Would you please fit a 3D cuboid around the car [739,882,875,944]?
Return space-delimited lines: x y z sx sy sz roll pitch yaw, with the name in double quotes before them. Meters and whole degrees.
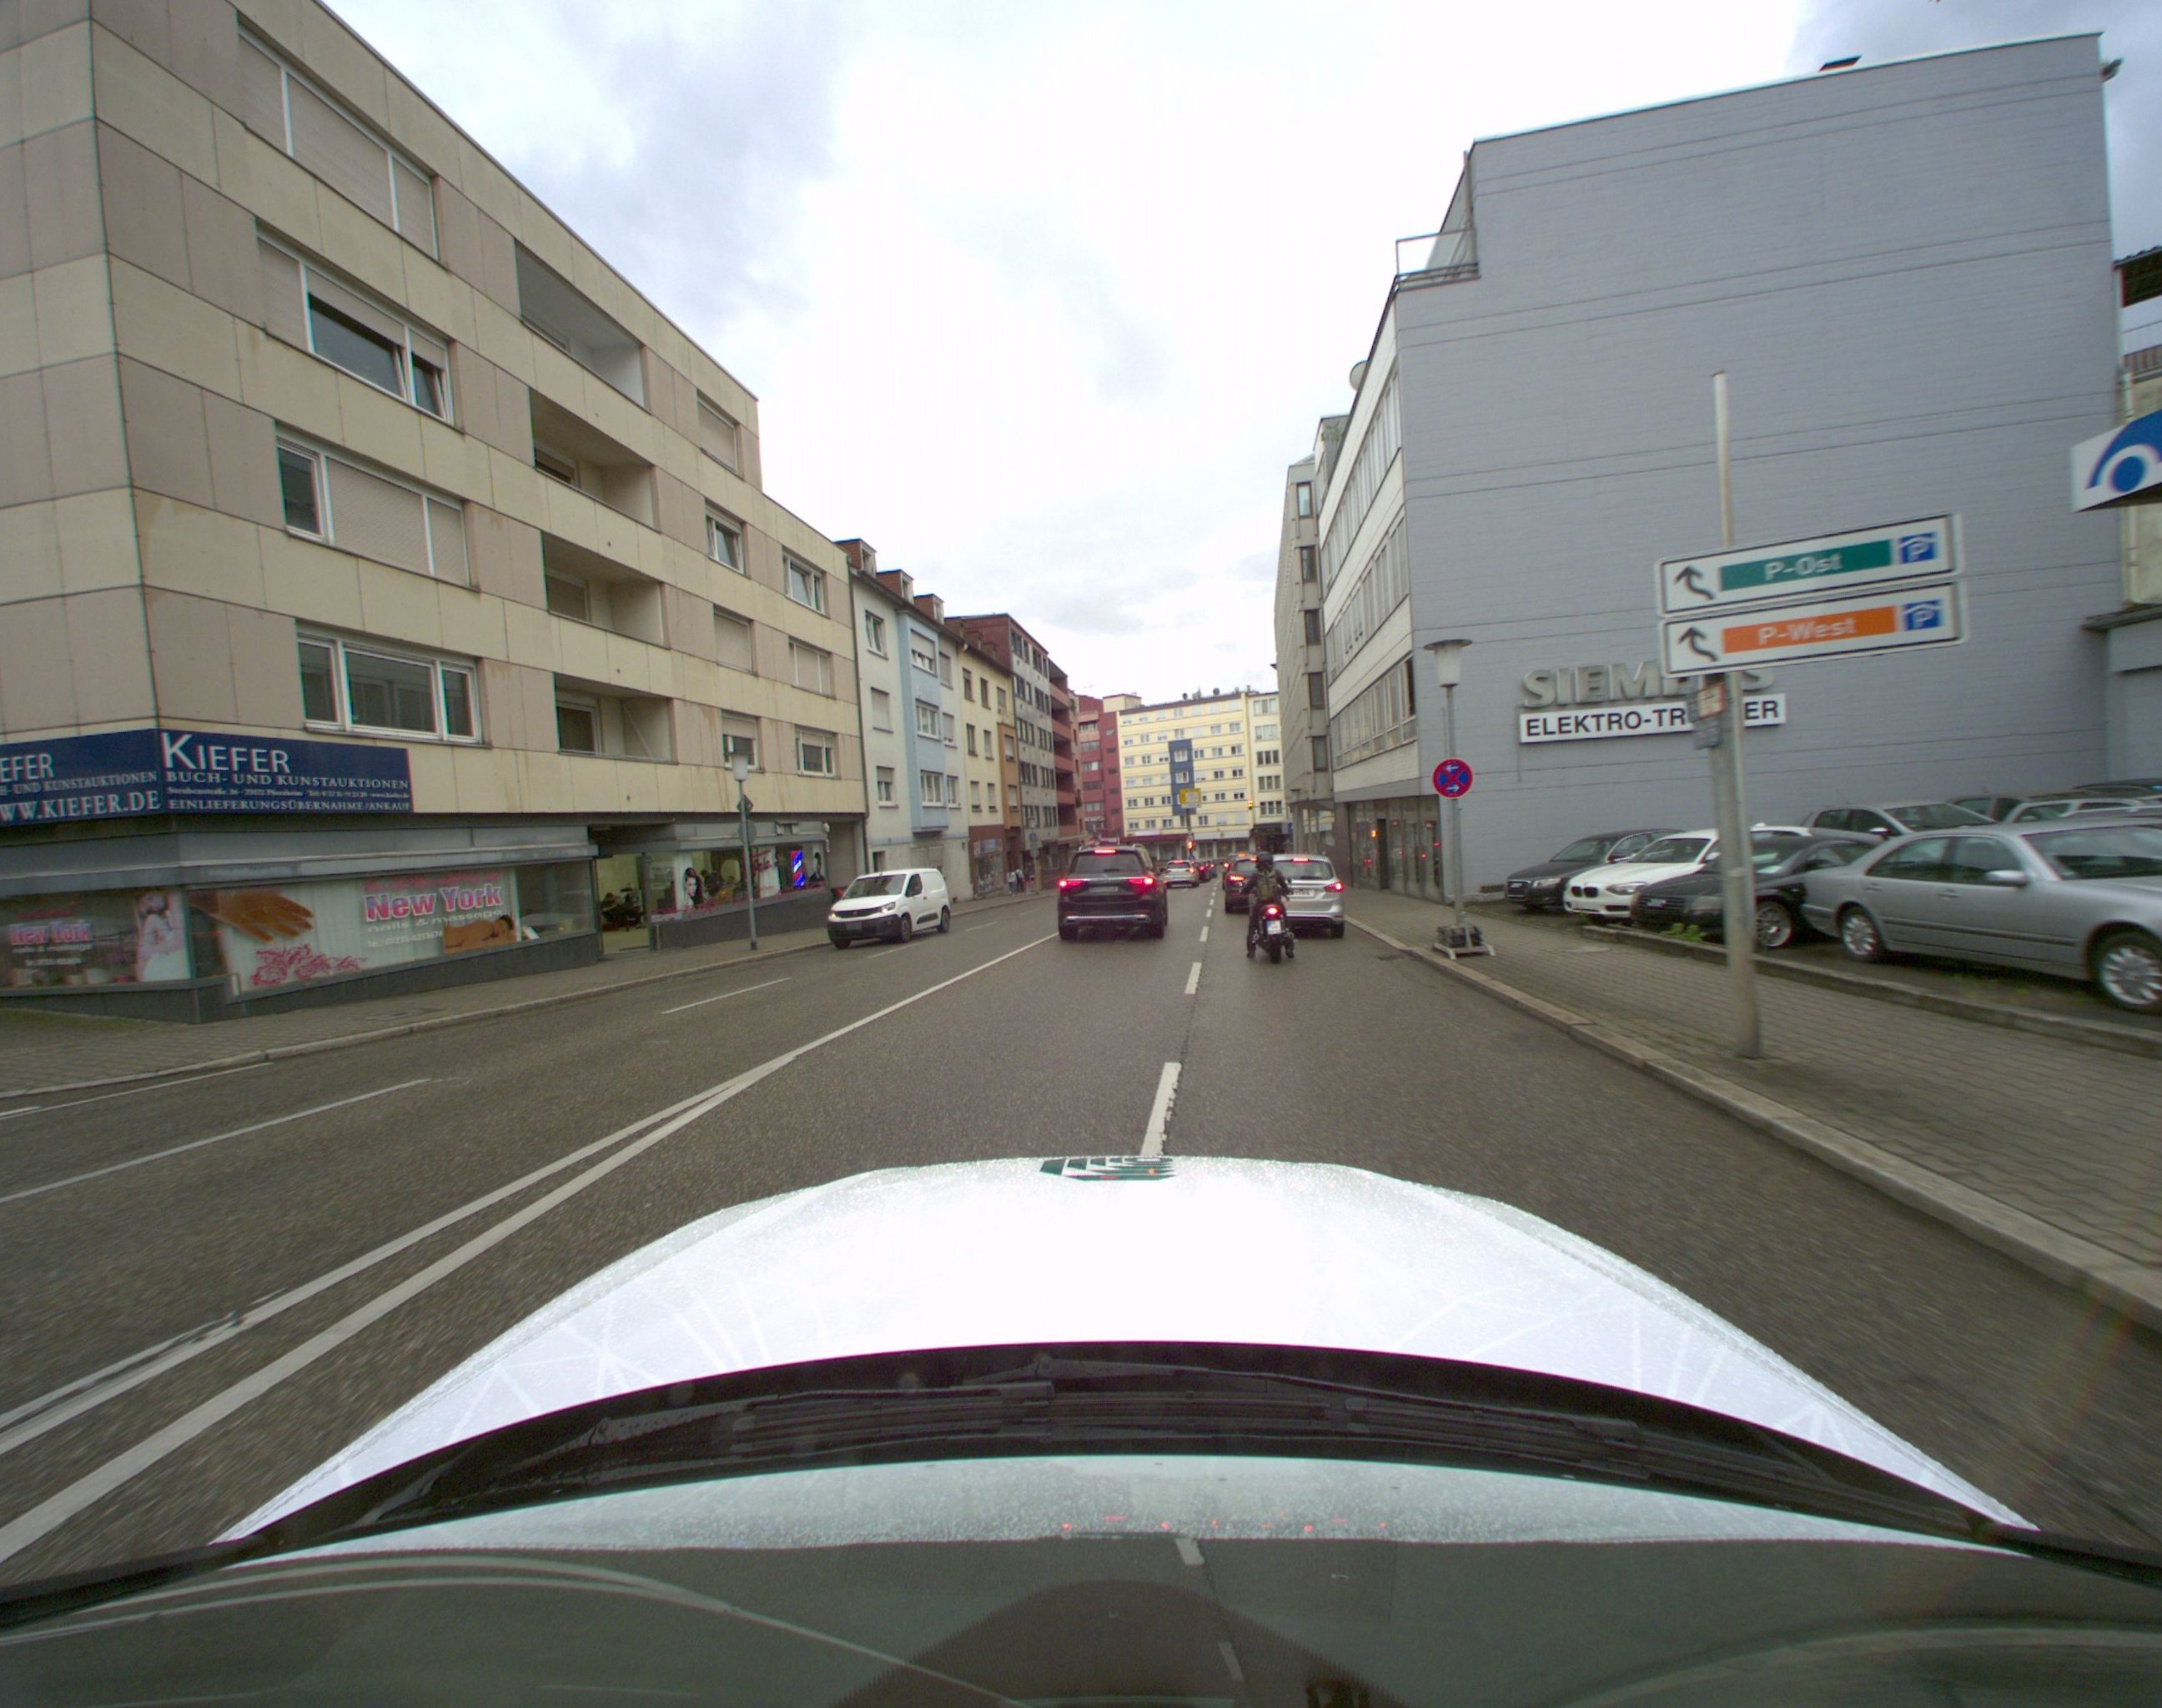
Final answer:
"car" -9.506 2.041 28.461 3.972 1.350 1.680 -10 1 2

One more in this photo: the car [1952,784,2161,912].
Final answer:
"car" 14.884 -0.142 11.448 1.777 1.600 3.529 -6 -1 11

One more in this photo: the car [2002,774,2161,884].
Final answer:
"car" 19.803 -0.472 14.909 1.777 1.911 3.961 -3 -1 11

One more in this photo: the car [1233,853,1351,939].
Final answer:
"car" 4.221 0.774 16.882 1.816 1.541 4.260 0 0 7

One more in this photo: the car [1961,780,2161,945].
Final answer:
"car" 11.585 0.047 7.860 1.777 1.544 4.506 -7 0 11

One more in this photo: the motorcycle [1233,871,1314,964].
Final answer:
"motorcycle" 2.813 0.883 12.168 0.840 1.226 2.376 0 -1 5

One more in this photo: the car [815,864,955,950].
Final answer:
"car" -4.807 1.242 20.681 1.851 1.804 4.276 -4 -1 9

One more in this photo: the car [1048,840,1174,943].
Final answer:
"car" 0.793 0.698 17.092 2.027 1.799 4.674 -2 -1 9

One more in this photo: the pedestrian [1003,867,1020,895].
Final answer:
"pedestrian" -3.958 1.544 46.385 0.824 1.561 0.724 -1 -1 1

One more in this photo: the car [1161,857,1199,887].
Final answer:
"car" 5.404 0.946 44.080 1.862 1.495 4.411 -2 -1 9

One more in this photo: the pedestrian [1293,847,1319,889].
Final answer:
"pedestrian" 9.605 0.582 34.824 0.779 1.705 1.123 -6 -2 7

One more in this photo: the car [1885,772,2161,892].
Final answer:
"car" 17.670 -0.367 15.240 1.777 1.899 3.961 -3 -1 11

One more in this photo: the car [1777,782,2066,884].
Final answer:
"car" 15.544 -0.328 15.431 1.777 1.522 3.961 -5 -1 11

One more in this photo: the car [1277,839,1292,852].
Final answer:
"car" 29.616 -1.210 118.484 1.782 1.670 4.019 -4 -1 19

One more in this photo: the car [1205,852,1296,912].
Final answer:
"car" 4.778 0.759 23.533 1.817 1.560 4.201 -1 -1 1

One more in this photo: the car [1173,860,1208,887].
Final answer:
"car" 7.068 1.216 52.264 1.981 1.486 4.249 -4 -1 10

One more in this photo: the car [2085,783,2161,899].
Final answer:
"car" 16.923 -0.242 11.173 1.777 1.730 3.961 -3 -1 11

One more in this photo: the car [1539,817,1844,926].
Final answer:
"car" 10.257 0.276 13.849 3.982 1.530 1.760 -3 -1 -6

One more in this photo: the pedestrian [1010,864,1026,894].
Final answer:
"pedestrian" -3.696 1.457 47.571 0.824 1.689 0.724 -1 -1 1

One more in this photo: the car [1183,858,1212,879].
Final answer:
"car" 8.691 1.092 60.459 1.913 1.515 4.675 -1 -2 10

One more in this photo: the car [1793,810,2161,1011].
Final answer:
"car" 9.044 0.366 7.429 1.776 1.415 4.631 -4 -1 13

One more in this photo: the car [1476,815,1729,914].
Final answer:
"car" 10.449 0.206 16.468 3.984 1.450 1.794 -6 0 -7

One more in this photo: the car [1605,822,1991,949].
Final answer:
"car" 9.729 0.404 11.234 3.980 1.401 1.668 -3 -1 -5

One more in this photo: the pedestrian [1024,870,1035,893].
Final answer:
"pedestrian" -3.011 1.605 47.584 0.531 1.323 0.724 -1 -1 1

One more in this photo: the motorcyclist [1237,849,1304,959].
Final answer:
"motorcyclist" 2.813 0.723 12.201 0.841 1.589 0.964 0 -1 5

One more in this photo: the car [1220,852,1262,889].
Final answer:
"car" 7.780 0.777 39.876 1.886 1.695 4.517 0 0 9

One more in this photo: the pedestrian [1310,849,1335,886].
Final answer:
"pedestrian" 10.602 0.590 35.758 0.761 1.551 0.892 -6 -2 7
